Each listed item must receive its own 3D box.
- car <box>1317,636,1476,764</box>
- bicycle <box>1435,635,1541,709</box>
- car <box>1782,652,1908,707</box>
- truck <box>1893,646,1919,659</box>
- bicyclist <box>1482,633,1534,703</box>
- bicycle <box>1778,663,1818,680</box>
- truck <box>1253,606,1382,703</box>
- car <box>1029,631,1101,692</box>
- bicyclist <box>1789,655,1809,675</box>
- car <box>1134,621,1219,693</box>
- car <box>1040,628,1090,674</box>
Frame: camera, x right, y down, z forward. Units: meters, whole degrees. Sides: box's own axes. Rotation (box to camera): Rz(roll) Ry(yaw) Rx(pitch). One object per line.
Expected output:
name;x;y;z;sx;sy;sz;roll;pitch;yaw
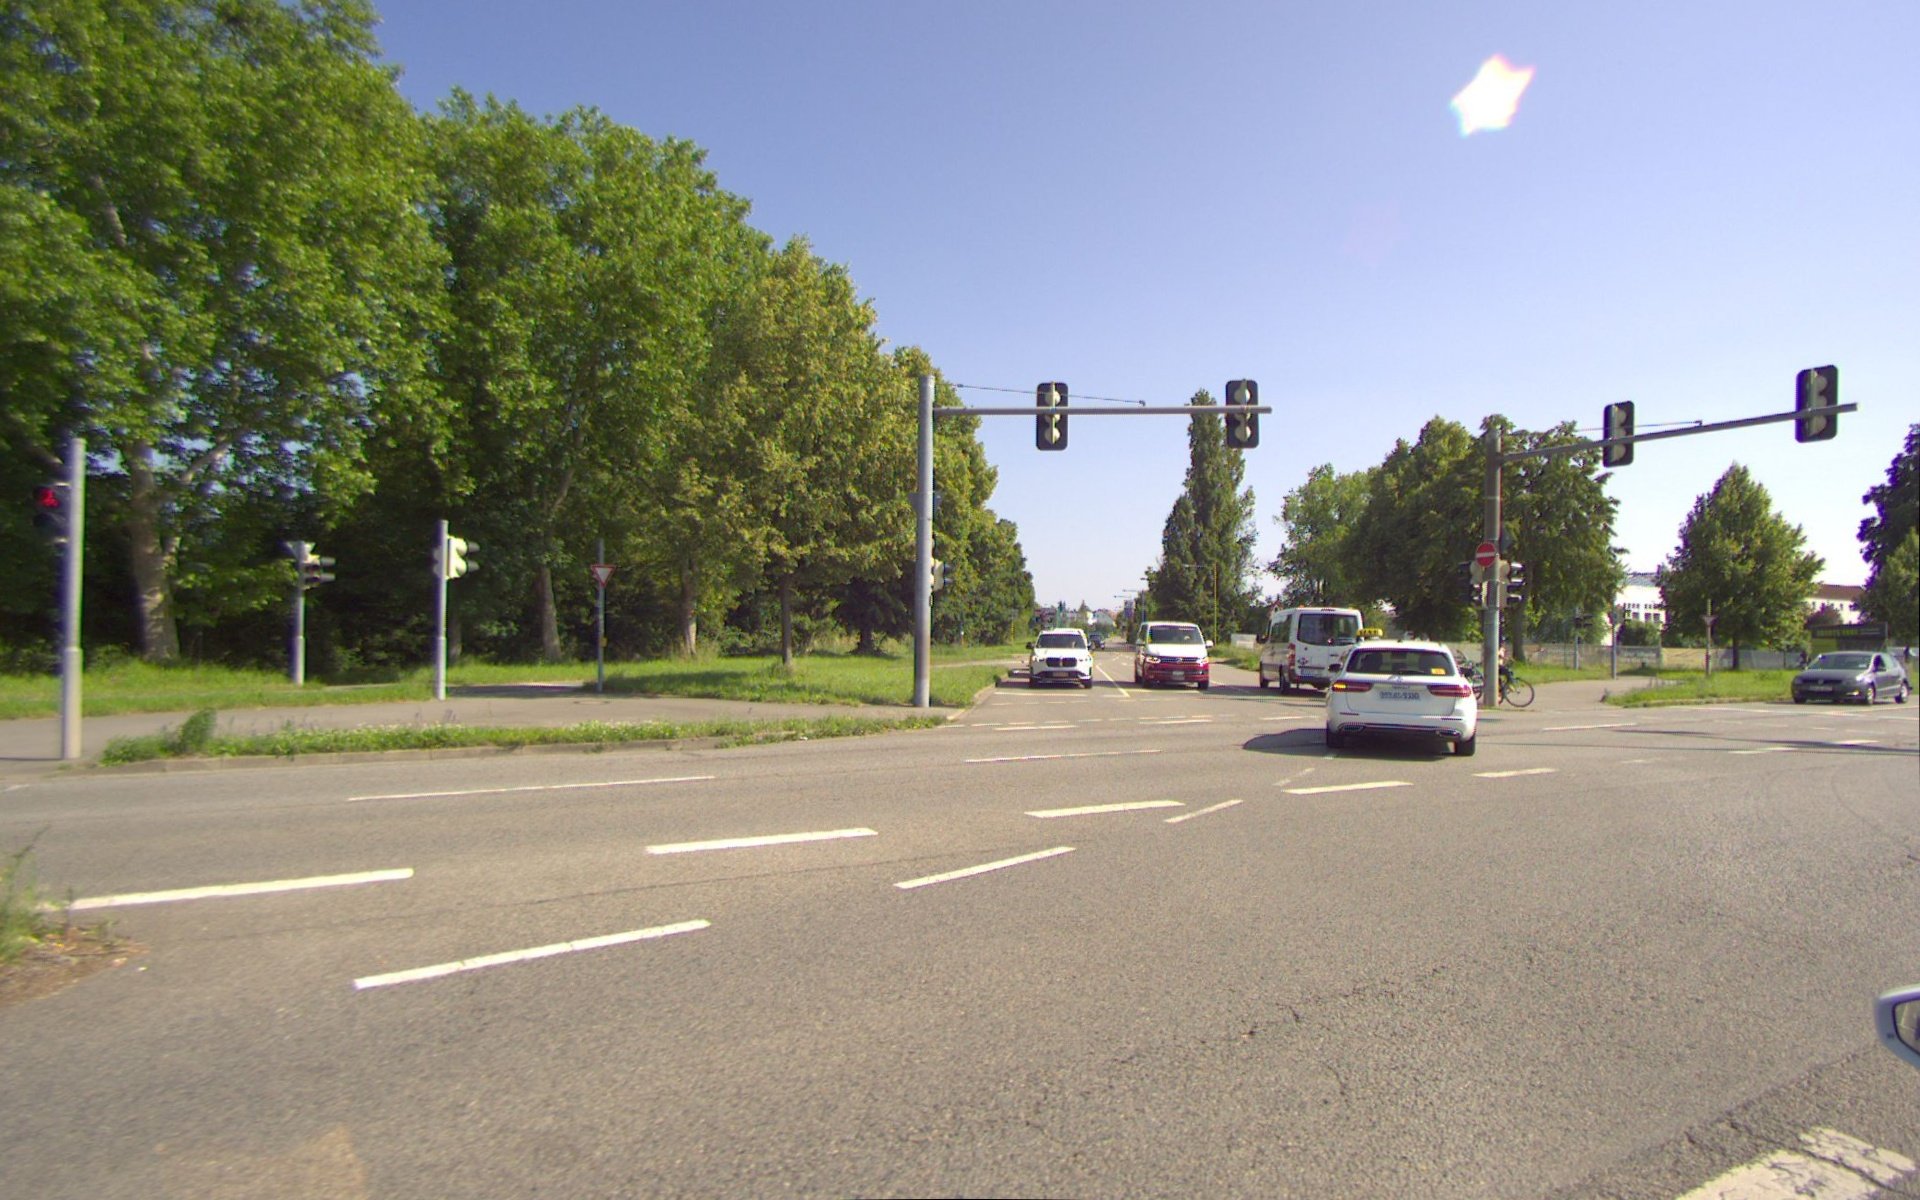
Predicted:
car;6.365;1.311;14.595;1.784;1.483;4.968;0;-2;25
bicycle;13.451;1.793;25.720;1.114;1.692;2.800;2;-1;-2
car;24.464;2.162;27.739;3.718;1.433;1.479;2;-4;-30
truck;162.160;9.024;170.913;2.028;2.040;4.480;2;0;-30
bicyclist;13.518;1.662;24.780;0.743;1.640;0.865;2;0;-2
bicycle;52.502;4.474;62.957;2.475;0.963;0.836;2;-1;-22
truck;10.005;1.445;28.693;2.333;2.420;6.045;1;-1;9
car;3.085;1.752;29.632;1.964;1.627;4.271;1;-2;6
bicyclist;52.535;4.088;62.929;0.880;1.233;0.608;2;-1;-20
car;6.482;1.678;30.585;1.960;1.976;4.659;1;-2;5
car;4.473;2.144;42.879;1.964;1.824;4.510;1;-2;6
